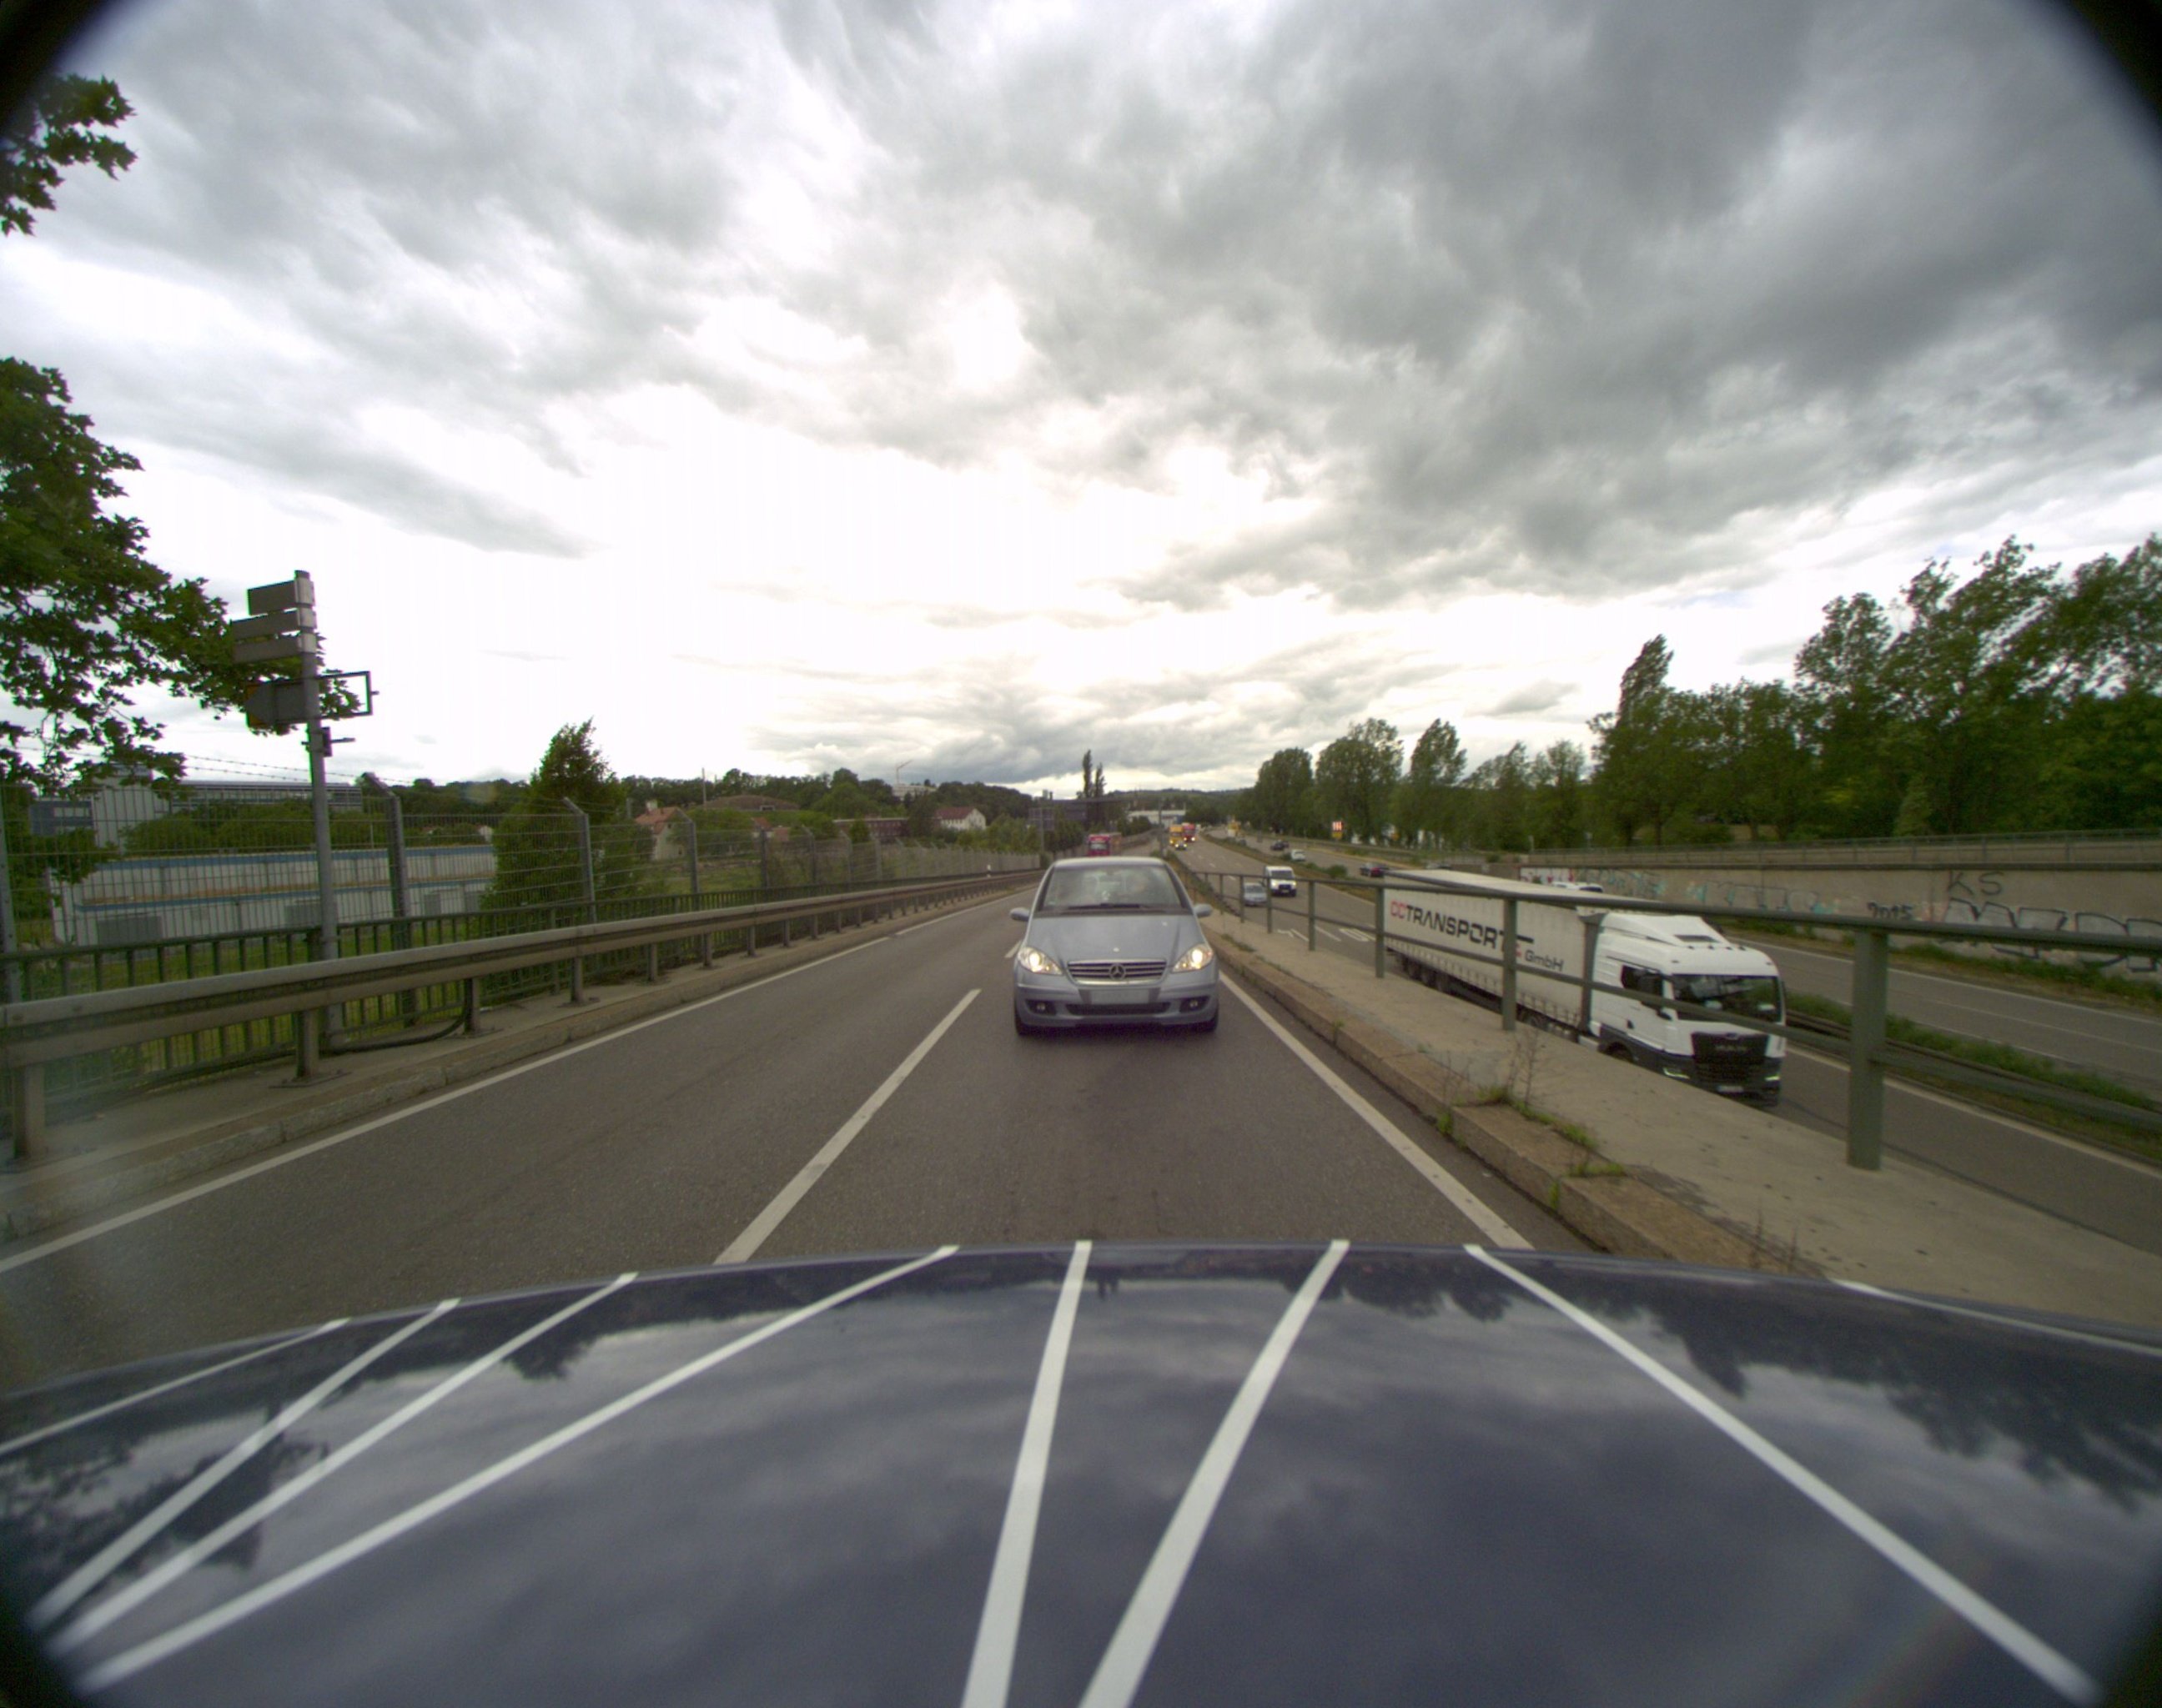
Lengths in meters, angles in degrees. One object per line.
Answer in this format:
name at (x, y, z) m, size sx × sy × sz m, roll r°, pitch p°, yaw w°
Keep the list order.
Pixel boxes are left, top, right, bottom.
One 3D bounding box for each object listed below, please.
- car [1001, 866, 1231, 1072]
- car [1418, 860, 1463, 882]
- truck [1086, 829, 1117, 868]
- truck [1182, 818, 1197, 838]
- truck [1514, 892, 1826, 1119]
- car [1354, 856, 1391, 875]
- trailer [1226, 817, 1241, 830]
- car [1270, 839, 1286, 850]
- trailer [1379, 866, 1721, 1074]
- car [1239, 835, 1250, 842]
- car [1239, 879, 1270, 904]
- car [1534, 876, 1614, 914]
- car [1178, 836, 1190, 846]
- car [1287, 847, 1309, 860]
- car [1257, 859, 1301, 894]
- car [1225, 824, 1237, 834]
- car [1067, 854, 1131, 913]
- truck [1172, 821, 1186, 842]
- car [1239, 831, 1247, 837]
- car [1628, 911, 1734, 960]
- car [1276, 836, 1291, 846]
car at (0.299, 0.915, 7.819) m, size 1.743 × 1.534 × 3.992 m, roll -1°, pitch 0°, yaw 1°
car at (32.825, 1.538, 69.518) m, size 1.998 × 1.617 × 4.576 m, roll 0°, pitch 3°, yaw 1°
truck at (2.434, -0.693, 89.079) m, size 3.101 × 3.990 × 8.487 m, roll -1°, pitch 4°, yaw 5°
truck at (25.901, -6.324, 182.052) m, size 2.754 × 4.712 × 9.916 m, roll 1°, pitch 3°, yaw 4°
truck at (13.694, 3.258, 18.497) m, size 3.010 × 4.087 × 5.871 m, roll 0°, pitch 3°, yaw 2°
car at (29.213, 1.131, 76.254) m, size 1.998 × 1.617 × 4.576 m, roll 0°, pitch 3°, yaw 1°
trailer at (50.627, -10.285, 252.771) m, size 3.247 × 4.239 × 13.677 m, roll 0°, pitch 3°, yaw 5°
car at (33.566, -1.716, 129.659) m, size 1.886 × 1.709 × 4.180 m, roll 0°, pitch 3°, yaw 3°
trailer at (13.932, 2.898, 25.186) m, size 3.010 × 4.087 × 13.983 m, roll 0°, pitch 3°, yaw 2°
car at (33.525, -3.210, 155.938) m, size 1.717 × 1.446 × 3.650 m, roll -1°, pitch 3°, yaw 6°
car at (12.202, 2.633, 53.607) m, size 1.512 × 1.365 × 3.536 m, roll 0°, pitch 3°, yaw 3°
car at (31.365, 2.583, 48.557) m, size 1.952 × 1.897 × 4.907 m, roll -1°, pitch 3°, yaw 1°
car at (18.413, -2.324, 135.728) m, size 1.810 × 1.658 × 3.999 m, roll -1°, pitch 3°, yaw 4°
car at (28.765, -0.081, 100.829) m, size 1.778 × 1.486 × 3.896 m, roll 1°, pitch 3°, yaw 2°
car at (15.765, 1.742, 60.874) m, size 2.104 × 2.231 × 6.498 m, roll 0°, pitch 3°, yaw 3°
car at (41.355, -6.787, 209.039) m, size 2.172 × 2.580 × 6.099 m, roll -1°, pitch 3°, yaw 1°
car at (0.563, 0.916, 24.704) m, size 1.830 × 1.701 × 4.001 m, roll -2°, pitch -1°, yaw 1°
truck at (20.230, -4.780, 156.812) m, size 2.415 × 4.100 × 8.169 m, roll 0°, pitch 3°, yaw 4°
car at (46.861, -5.877, 219.487) m, size 1.662 × 1.643 × 3.772 m, roll 0°, pitch 3°, yaw 4°
car at (27.170, 3.661, 34.593) m, size 1.669 × 1.612 × 3.998 m, roll 0°, pitch 3°, yaw 1°
car at (38.009, -2.502, 142.744) m, size 1.864 × 1.643 × 4.632 m, roll 0°, pitch 3°, yaw 4°
